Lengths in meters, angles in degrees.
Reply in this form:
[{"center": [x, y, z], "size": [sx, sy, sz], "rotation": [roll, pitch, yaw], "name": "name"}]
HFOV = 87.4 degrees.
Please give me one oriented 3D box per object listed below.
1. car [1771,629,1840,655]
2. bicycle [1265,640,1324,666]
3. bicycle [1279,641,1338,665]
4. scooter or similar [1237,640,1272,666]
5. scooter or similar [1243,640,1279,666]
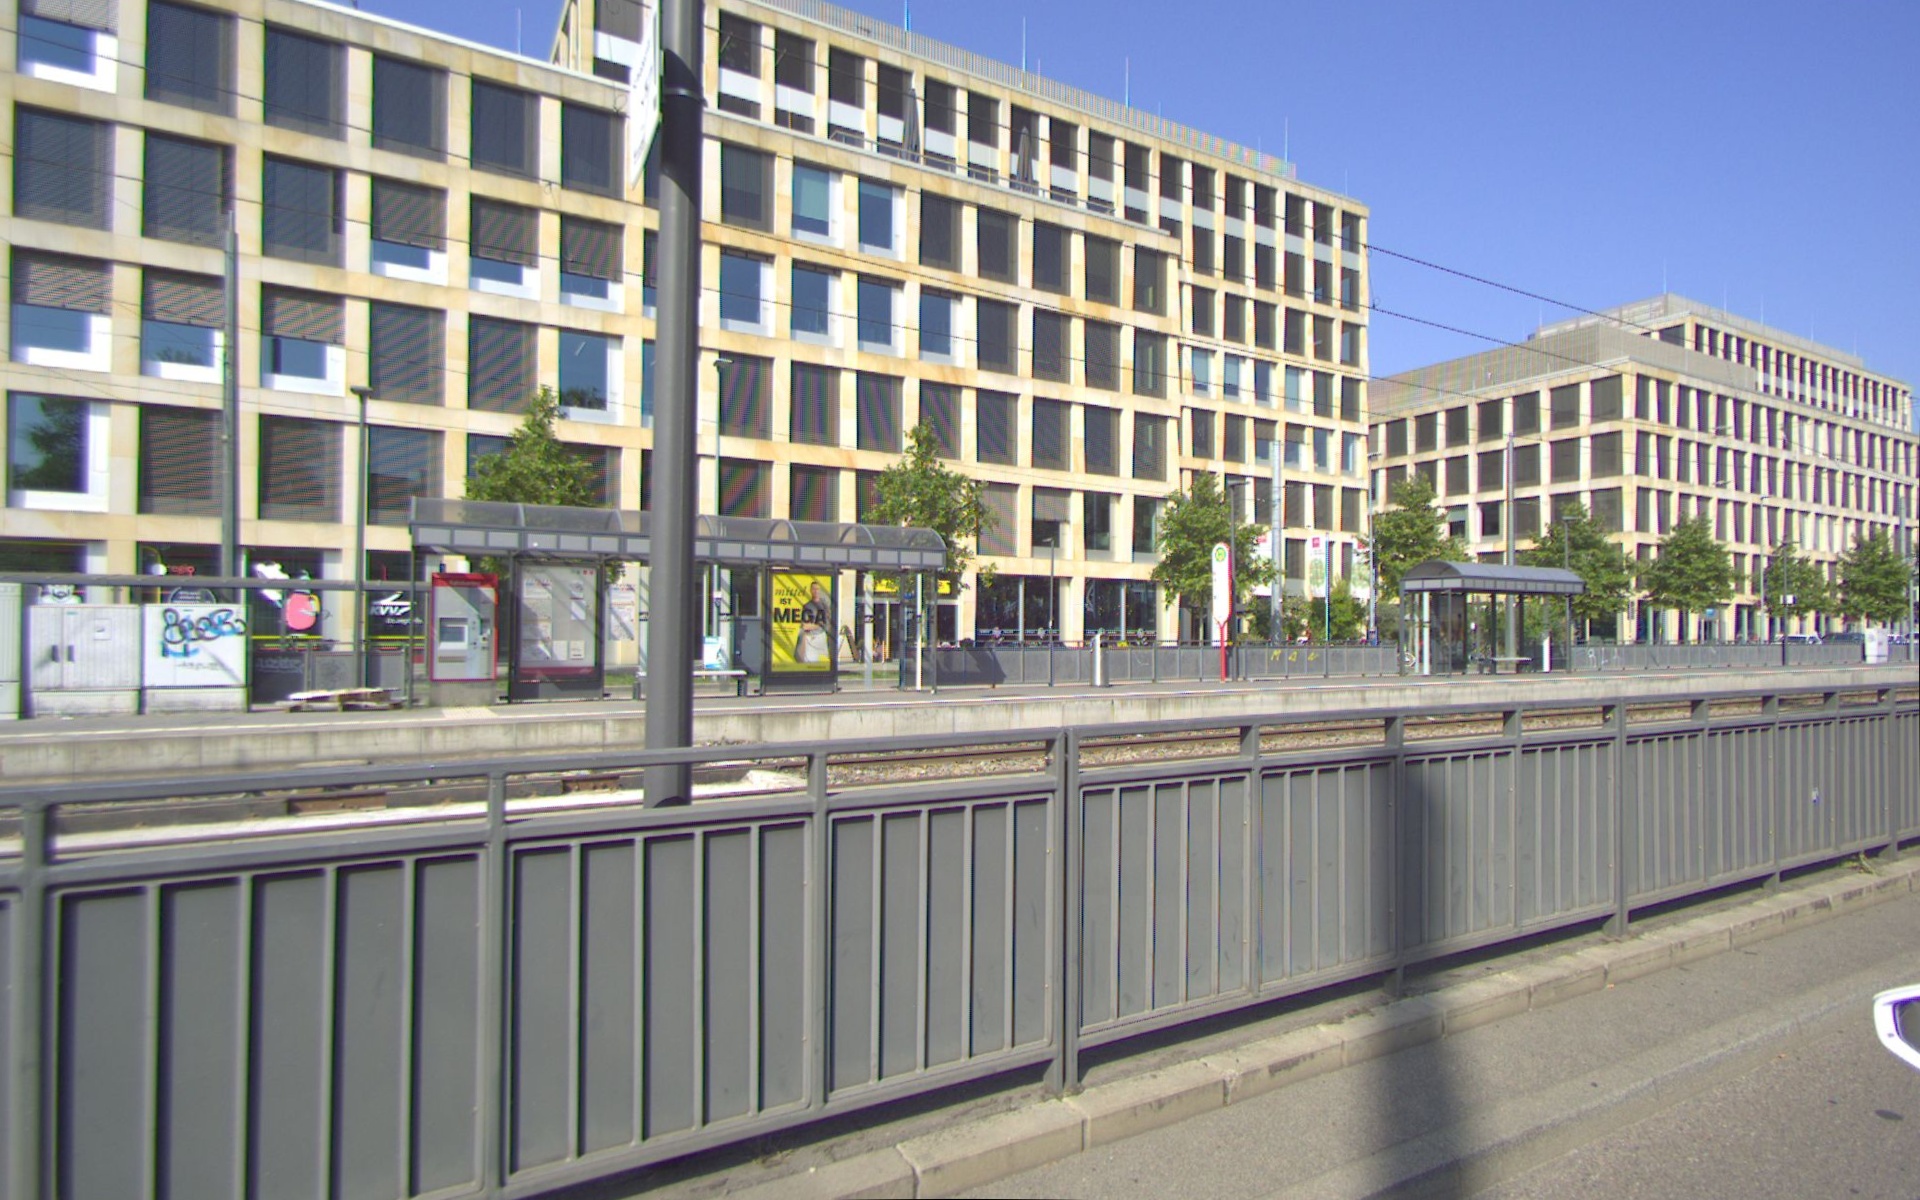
[{"center": [47.434, 2.342, 56.340], "size": [4.173, 1.395, 1.634], "rotation": [1, -2, -30], "name": "car"}, {"center": [13.875, 2.186, 41.721], "size": [0.812, 0.999, 2.421], "rotation": [1, -2, -30], "name": "bicycle"}, {"center": [14.689, 2.218, 42.371], "size": [0.812, 0.999, 2.421], "rotation": [1, -2, -30], "name": "bicycle"}, {"center": [11.737, 2.112, 40.065], "size": [0.367, 0.999, 1.493], "rotation": [1, -2, -31], "name": "scooter or similar"}, {"center": [12.112, 2.127, 40.435], "size": [0.390, 0.999, 1.515], "rotation": [1, -2, -30], "name": "scooter or similar"}]
